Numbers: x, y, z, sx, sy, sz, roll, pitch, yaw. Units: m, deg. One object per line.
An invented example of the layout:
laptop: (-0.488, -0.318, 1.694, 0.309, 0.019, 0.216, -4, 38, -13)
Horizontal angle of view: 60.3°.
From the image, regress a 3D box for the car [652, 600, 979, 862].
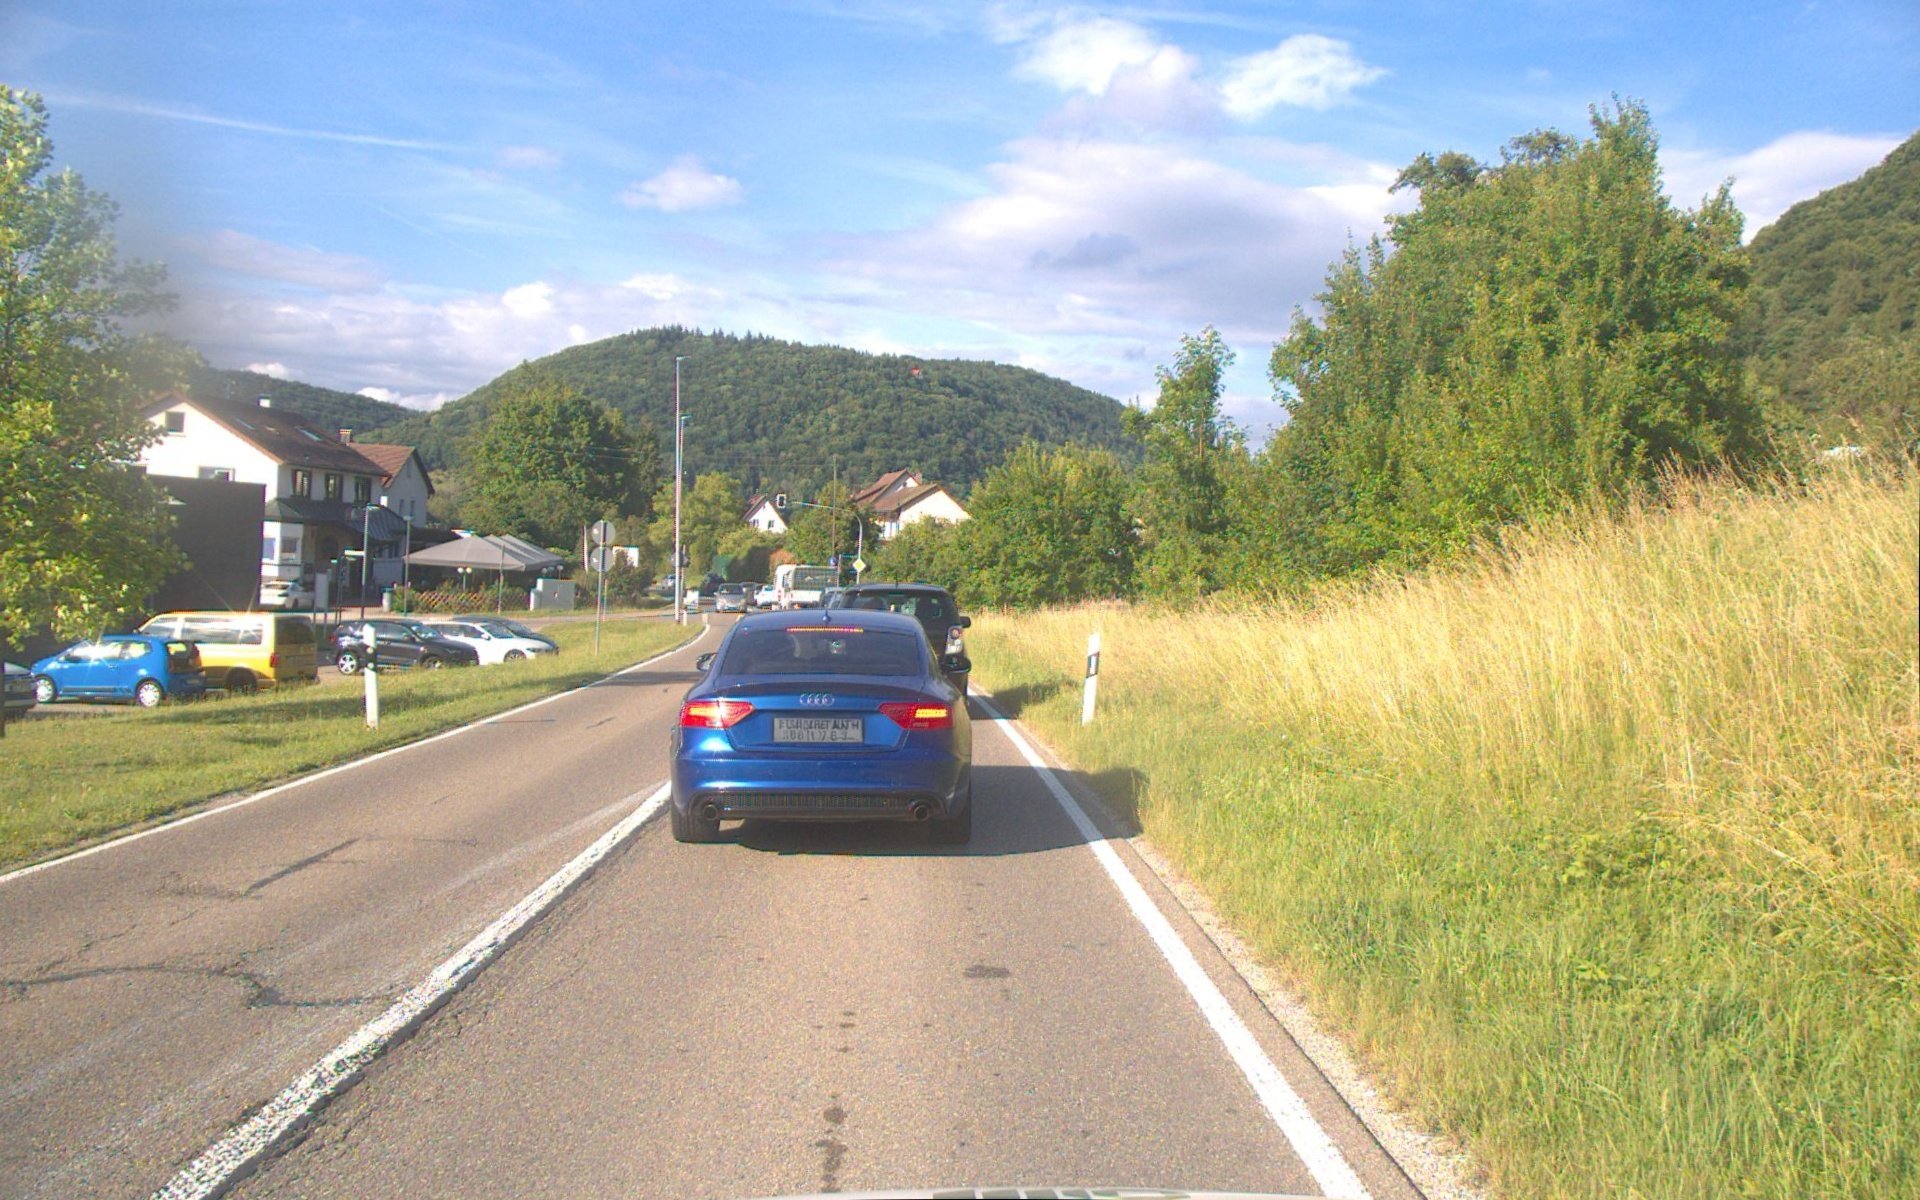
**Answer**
car: (-0.775, 0.719, 10.928, 1.758, 1.412, 4.000, 0, 0, 0)

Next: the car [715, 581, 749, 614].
car: (-12.189, -0.144, 88.275, 1.703, 1.691, 3.463, 1, 0, -10)

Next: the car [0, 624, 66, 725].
car: (-18.895, 1.282, 29.908, 4.442, 1.733, 2.001, 1, 0, 7)

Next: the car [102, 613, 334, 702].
car: (-17.065, 1.288, 38.117, 4.512, 1.900, 2.002, 1, -1, 11)

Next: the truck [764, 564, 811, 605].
truck: (-8.958, -0.769, 85.742, 1.668, 1.988, 5.902, 1, 0, -13)

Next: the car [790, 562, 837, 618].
car: (-6.158, -0.394, 69.150, 1.713, 2.234, 3.992, 1, 0, -8)

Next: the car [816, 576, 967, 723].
car: (-0.784, 0.582, 21.048, 1.710, 1.668, 4.000, 1, 0, 0)

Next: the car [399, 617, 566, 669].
car: (-15.173, 1.342, 52.625, 4.711, 1.520, 1.882, 1, 0, 7)

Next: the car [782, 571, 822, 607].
car: (-7.723, -0.500, 80.419, 1.713, 1.668, 3.992, 1, 0, -8)

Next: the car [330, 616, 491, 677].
car: (-15.949, 1.326, 48.101, 3.939, 1.666, 2.001, 1, 0, 7)

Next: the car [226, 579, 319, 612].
car: (-32.133, -0.209, 77.409, 1.728, 1.467, 4.001, 1, 0, 20)

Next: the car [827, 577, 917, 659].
car: (-1.876, 0.389, 36.320, 1.768, 1.668, 4.462, 1, 0, -1)

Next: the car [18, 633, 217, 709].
car: (-18.051, 1.502, 35.515, 3.419, 1.498, 1.634, 1, 0, 5)
